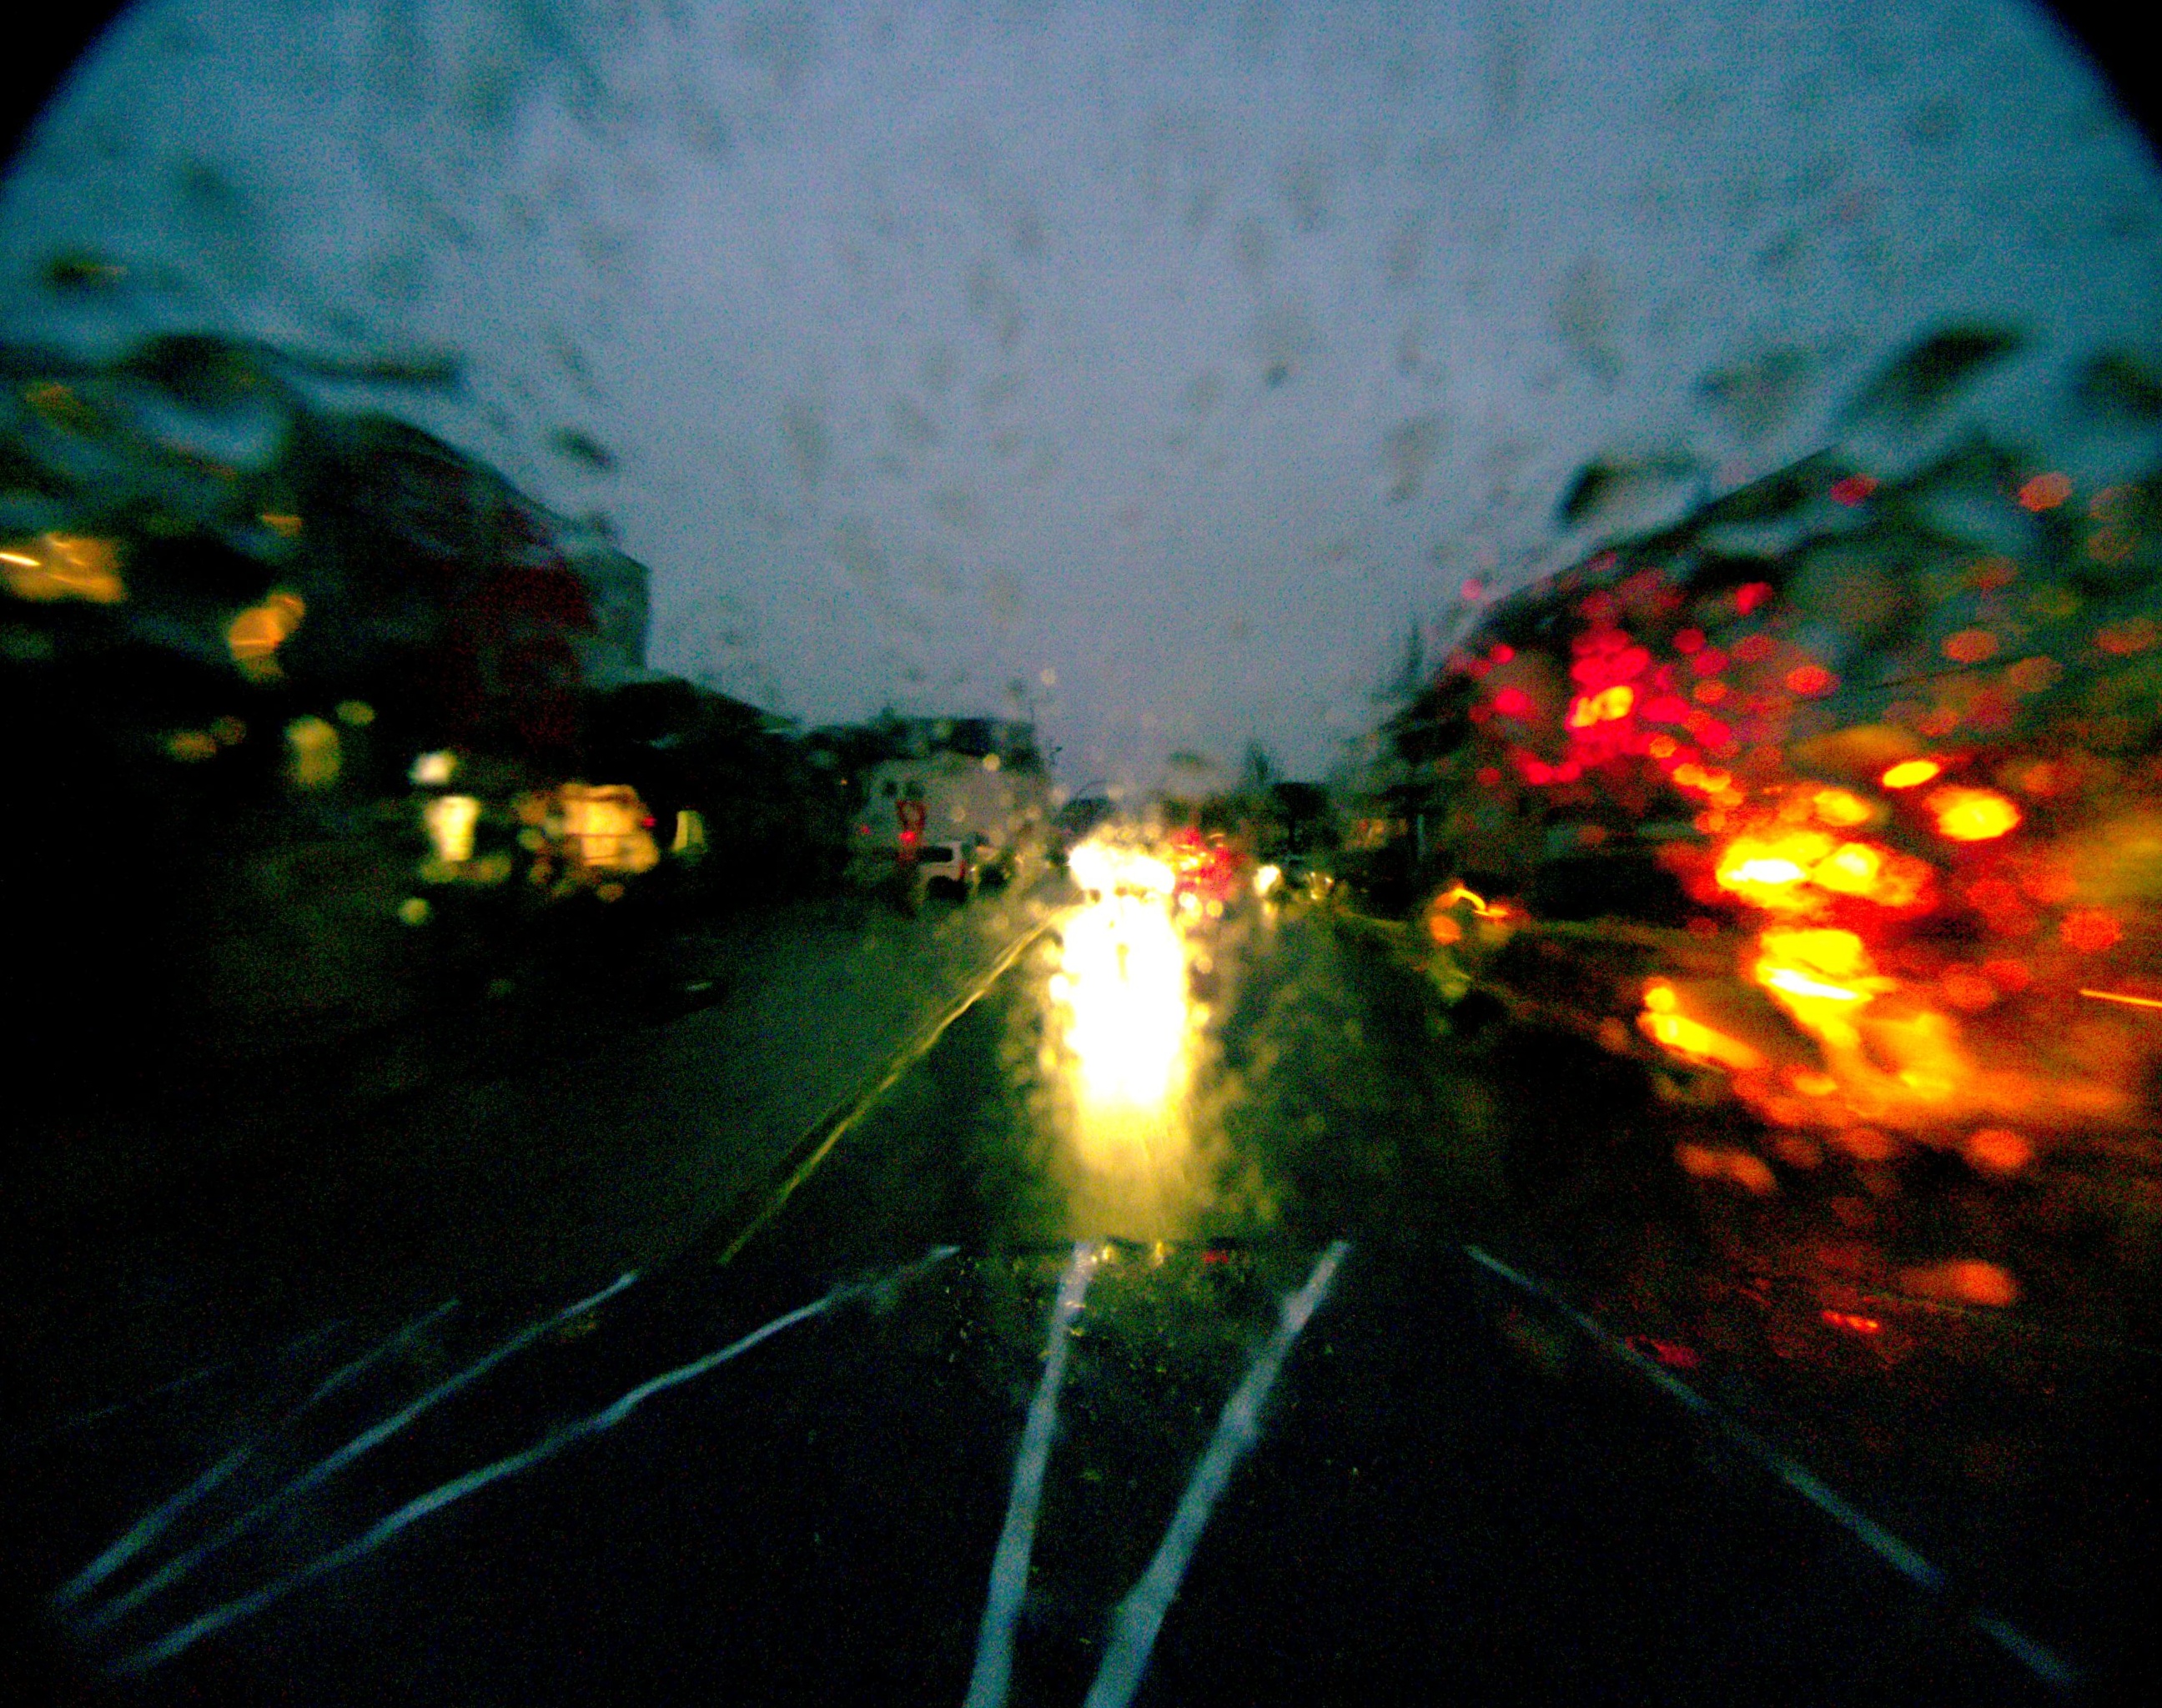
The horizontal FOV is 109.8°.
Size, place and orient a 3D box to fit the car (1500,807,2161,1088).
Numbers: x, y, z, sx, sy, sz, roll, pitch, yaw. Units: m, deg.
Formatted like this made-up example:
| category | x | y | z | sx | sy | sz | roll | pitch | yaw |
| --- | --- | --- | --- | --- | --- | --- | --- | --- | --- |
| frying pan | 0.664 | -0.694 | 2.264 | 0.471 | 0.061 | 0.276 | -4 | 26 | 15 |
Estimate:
| category | x | y | z | sx | sy | sz | roll | pitch | yaw |
| --- | --- | --- | --- | --- | --- | --- | --- | --- | --- |
| car | 6.627 | 0.596 | 7.431 | 2.092 | 1.781 | 5.022 | -1 | 0 | -3 |

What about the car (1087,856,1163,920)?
| category | x | y | z | sx | sy | sz | roll | pitch | yaw |
| --- | --- | --- | --- | --- | --- | --- | --- | --- | --- |
| car | 1.259 | 0.957 | 23.420 | 1.999 | 1.720 | 3.999 | -2 | 1 | -1 |

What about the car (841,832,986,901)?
| category | x | y | z | sx | sy | sz | roll | pitch | yaw |
| --- | --- | --- | --- | --- | --- | --- | --- | --- | --- |
| car | -5.375 | 0.381 | 24.674 | 4.098 | 2.038 | 2.001 | 2 | 1 | 10 |

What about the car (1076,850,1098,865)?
| category | x | y | z | sx | sy | sz | roll | pitch | yaw |
| --- | --- | --- | --- | --- | --- | --- | --- | --- | --- |
| car | 0.609 | 0.381 | 83.336 | 1.999 | 1.506 | 3.998 | -2 | 1 | -4 |

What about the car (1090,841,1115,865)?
| category | x | y | z | sx | sy | sz | roll | pitch | yaw |
| --- | --- | --- | --- | --- | --- | --- | --- | --- | --- |
| car | 1.776 | -0.133 | 62.201 | 1.998 | 1.844 | 4.000 | -2 | 1 | 2 |

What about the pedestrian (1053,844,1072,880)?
| category | x | y | z | sx | sy | sz | roll | pitch | yaw |
| --- | --- | --- | --- | --- | --- | --- | --- | --- | --- |
| pedestrian | -0.970 | 0.415 | 39.968 | 0.969 | 1.878 | 1.006 | -2 | 1 | -1 |

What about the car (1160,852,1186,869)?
| category | x | y | z | sx | sy | sz | roll | pitch | yaw |
| --- | --- | --- | --- | --- | --- | --- | --- | --- | --- |
| car | 8.255 | 0.549 | 68.313 | 1.698 | 1.423 | 4.376 | -2 | 0 | -1 |

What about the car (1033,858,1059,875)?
| category | x | y | z | sx | sy | sz | roll | pitch | yaw |
| --- | --- | --- | --- | --- | --- | --- | --- | --- | --- |
| car | -3.174 | 1.105 | 69.554 | 1.934 | 1.476 | 4.697 | -2 | 0 | 3 |

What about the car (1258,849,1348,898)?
| category | x | y | z | sx | sy | sz | roll | pitch | yaw |
| --- | --- | --- | --- | --- | --- | --- | --- | --- | --- |
| car | 7.839 | 0.634 | 27.295 | 1.998 | 1.549 | 4.621 | -2 | 0 | 2 |

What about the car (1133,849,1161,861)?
| category | x | y | z | sx | sy | sz | roll | pitch | yaw |
| --- | --- | --- | --- | --- | --- | --- | --- | --- | --- |
| car | 9.278 | 0.132 | 106.229 | 3.839 | 1.537 | 2.001 | -1 | 1 | 7 |

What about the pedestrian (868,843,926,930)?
| category | x | y | z | sx | sy | sz | roll | pitch | yaw |
| --- | --- | --- | --- | --- | --- | --- | --- | --- | --- |
| pedestrian | -3.731 | 0.633 | 15.464 | 0.837 | 1.695 | 0.846 | 1 | 1 | 13 |

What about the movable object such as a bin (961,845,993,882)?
| category | x | y | z | sx | sy | sz | roll | pitch | yaw |
| --- | --- | --- | --- | --- | --- | --- | --- | --- | --- |
| movable object such as a bin | -4.796 | 0.447 | 35.264 | 1.289 | 1.634 | 1.185 | 2 | 0 | -1 |

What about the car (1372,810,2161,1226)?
| category | x | y | z | sx | sy | sz | roll | pitch | yaw |
| --- | --- | --- | --- | --- | --- | --- | --- | --- | --- |
| car | 4.190 | 0.718 | 5.705 | 1.999 | 1.695 | 4.967 | -3 | -1 | 0 |

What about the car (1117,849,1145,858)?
| category | x | y | z | sx | sy | sz | roll | pitch | yaw |
| --- | --- | --- | --- | --- | --- | --- | --- | --- | --- |
| car | 7.360 | -0.063 | 111.779 | 3.996 | 1.291 | 2.000 | -1 | 1 | 4 |

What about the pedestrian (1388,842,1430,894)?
| category | x | y | z | sx | sy | sz | roll | pitch | yaw |
| --- | --- | --- | --- | --- | --- | --- | --- | --- | --- |
| pedestrian | 10.825 | 0.451 | 25.115 | 0.828 | 1.649 | 1.097 | -2 | 1 | -3 |

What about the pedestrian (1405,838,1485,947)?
| category | x | y | z | sx | sy | sz | roll | pitch | yaw |
| --- | --- | --- | --- | --- | --- | --- | --- | --- | --- |
| pedestrian | 6.548 | 0.659 | 13.678 | 0.945 | 1.865 | 1.010 | -1 | 1 | -41 |

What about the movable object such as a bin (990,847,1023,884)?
| category | x | y | z | sx | sy | sz | roll | pitch | yaw |
| --- | --- | --- | --- | --- | --- | --- | --- | --- | --- |
| movable object such as a bin | -3.430 | 0.510 | 35.205 | 1.396 | 1.634 | 1.261 | 2 | 0 | -1 |

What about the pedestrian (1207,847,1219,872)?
| category | x | y | z | sx | sy | sz | roll | pitch | yaw |
| --- | --- | --- | --- | --- | --- | --- | --- | --- | --- |
| pedestrian | 10.978 | 0.465 | 63.288 | 0.902 | 2.002 | 0.791 | 0 | 1 | 8 |

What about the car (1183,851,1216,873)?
| category | x | y | z | sx | sy | sz | roll | pitch | yaw |
| --- | --- | --- | --- | --- | --- | --- | --- | --- | --- |
| car | 8.839 | 0.563 | 56.988 | 1.789 | 1.480 | 4.181 | -2 | 1 | -1 |

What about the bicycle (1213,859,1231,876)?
| category | x | y | z | sx | sy | sz | roll | pitch | yaw |
| --- | --- | --- | --- | --- | --- | --- | --- | --- | --- |
| bicycle | 8.831 | 0.858 | 47.738 | 0.325 | 1.055 | 1.742 | 4 | -2 | -15 |

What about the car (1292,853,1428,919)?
| category | x | y | z | sx | sy | sz | roll | pitch | yaw |
| --- | --- | --- | --- | --- | --- | --- | --- | --- | --- |
| car | 7.346 | 0.759 | 20.606 | 1.998 | 1.514 | 4.978 | -1 | 1 | 2 |

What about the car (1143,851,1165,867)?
| category | x | y | z | sx | sy | sz | roll | pitch | yaw |
| --- | --- | --- | --- | --- | --- | --- | --- | --- | --- |
| car | 7.825 | 0.522 | 81.260 | 1.840 | 1.526 | 4.138 | -2 | 1 | -1 |

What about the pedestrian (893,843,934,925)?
| category | x | y | z | sx | sy | sz | roll | pitch | yaw |
| --- | --- | --- | --- | --- | --- | --- | --- | --- | --- |
| pedestrian | -3.574 | 0.623 | 16.263 | 0.705 | 1.695 | 0.914 | 0 | 1 | -2 |

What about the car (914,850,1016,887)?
| category | x | y | z | sx | sy | sz | roll | pitch | yaw |
| --- | --- | --- | --- | --- | --- | --- | --- | --- | --- |
| car | -4.947 | 0.604 | 32.732 | 3.995 | 1.478 | 1.913 | 0 | 2 | 4 |
